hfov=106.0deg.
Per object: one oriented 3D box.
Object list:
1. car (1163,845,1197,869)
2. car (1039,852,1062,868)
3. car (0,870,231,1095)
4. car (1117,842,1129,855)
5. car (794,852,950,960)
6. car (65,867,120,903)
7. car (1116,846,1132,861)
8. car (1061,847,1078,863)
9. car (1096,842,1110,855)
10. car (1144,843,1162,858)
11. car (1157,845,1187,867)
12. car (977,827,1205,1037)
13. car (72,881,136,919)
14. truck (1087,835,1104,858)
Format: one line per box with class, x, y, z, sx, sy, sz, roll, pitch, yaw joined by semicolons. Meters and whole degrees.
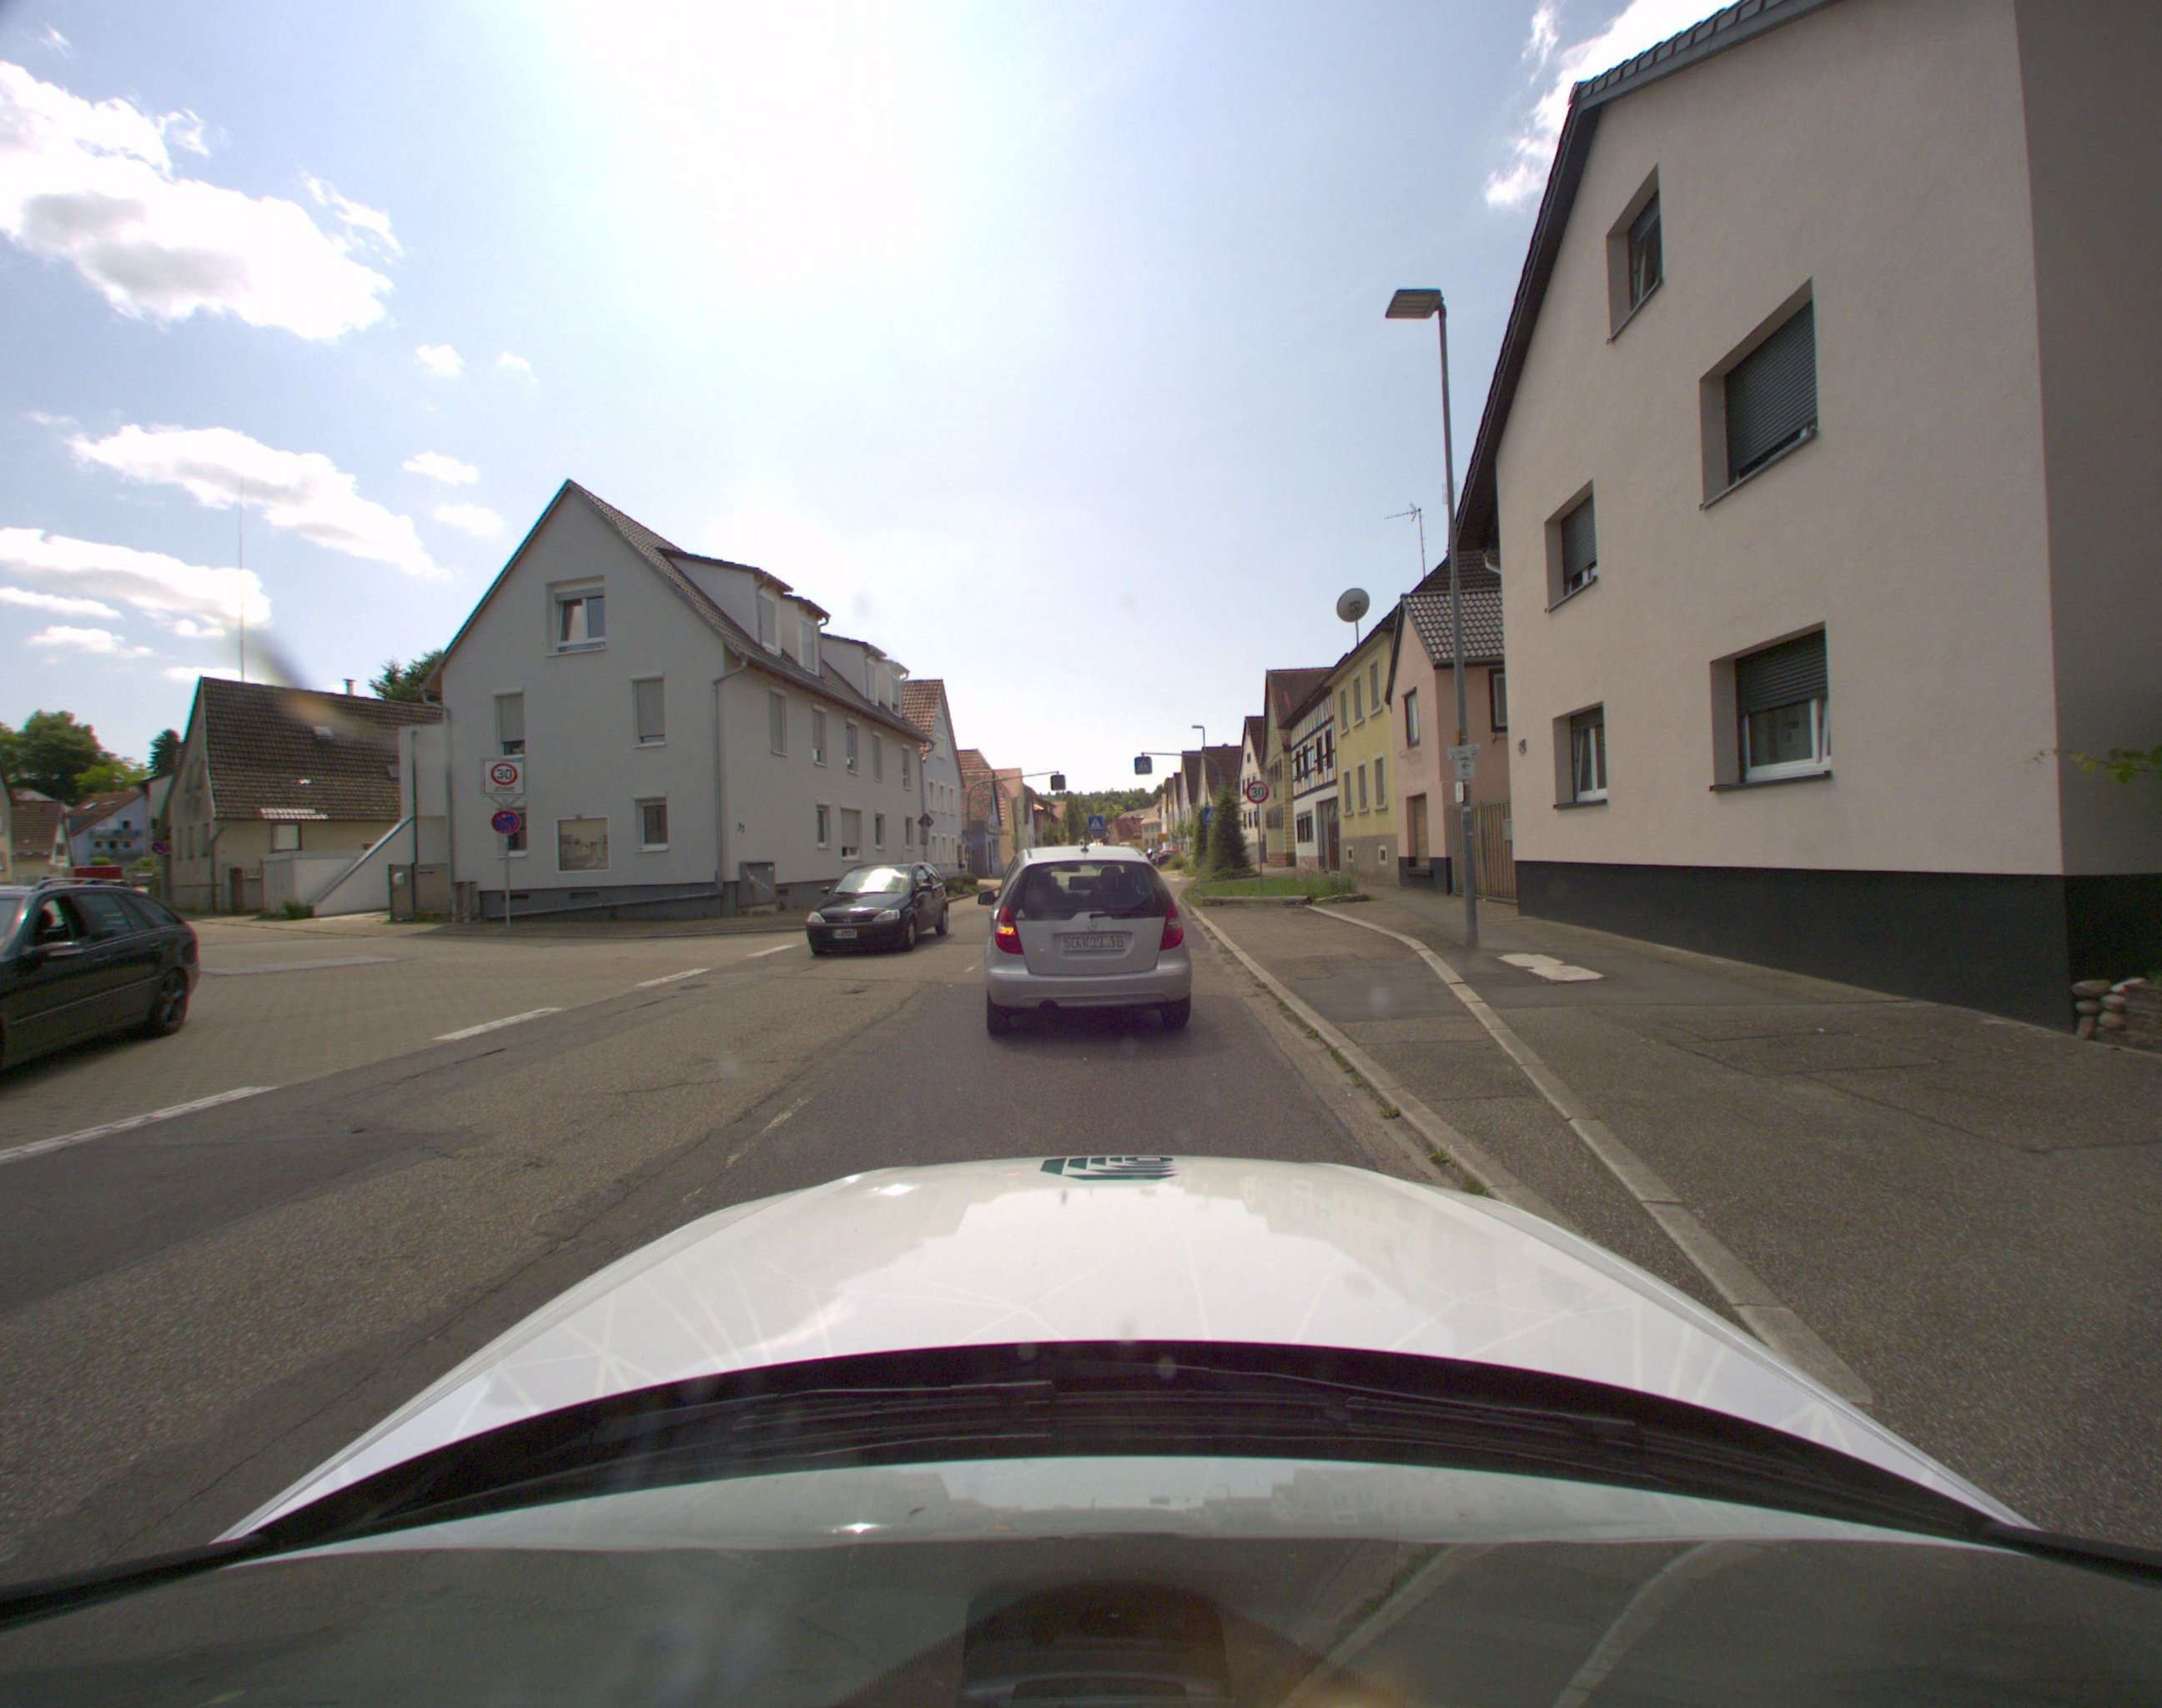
car;6.755;0.239;55.774;1.985;1.508;4.002;-1;-2;2
car;-2.772;0.584;73.338;1.989;1.321;3.704;-1;-2;-3
car;-8.328;0.867;5.907;1.820;1.412;4.590;0;-2;-31
car;7.318;-0.904;141.849;1.986;2.014;4.002;-1;-2;2
car;-3.397;0.822;13.961;1.494;1.540;3.858;-2;-2;2
car;-46.349;1.471;38.175;3.431;1.635;1.406;-3;-2;36
car;5.856;-0.034;111.796;1.986;1.816;4.001;-1;-2;1
car;-1.316;0.143;91.936;1.660;1.596;4.002;-1;-2;3
car;3.652;-0.895;133.702;1.985;2.014;4.004;-1;-2;4
car;9.346;-0.469;105.794;1.986;1.816;4.001;-1;-2;1
car;6.935;0.203;62.312;1.985;1.508;4.002;-1;-2;2
car;-0.047;0.621;8.296;1.807;1.643;3.723;0;-1;-4
car;-42.030;1.961;35.015;3.431;1.530;1.500;-3;-2;36
truck;1.799;-0.860;101.912;1.986;2.537;6.741;-1;-2;2
